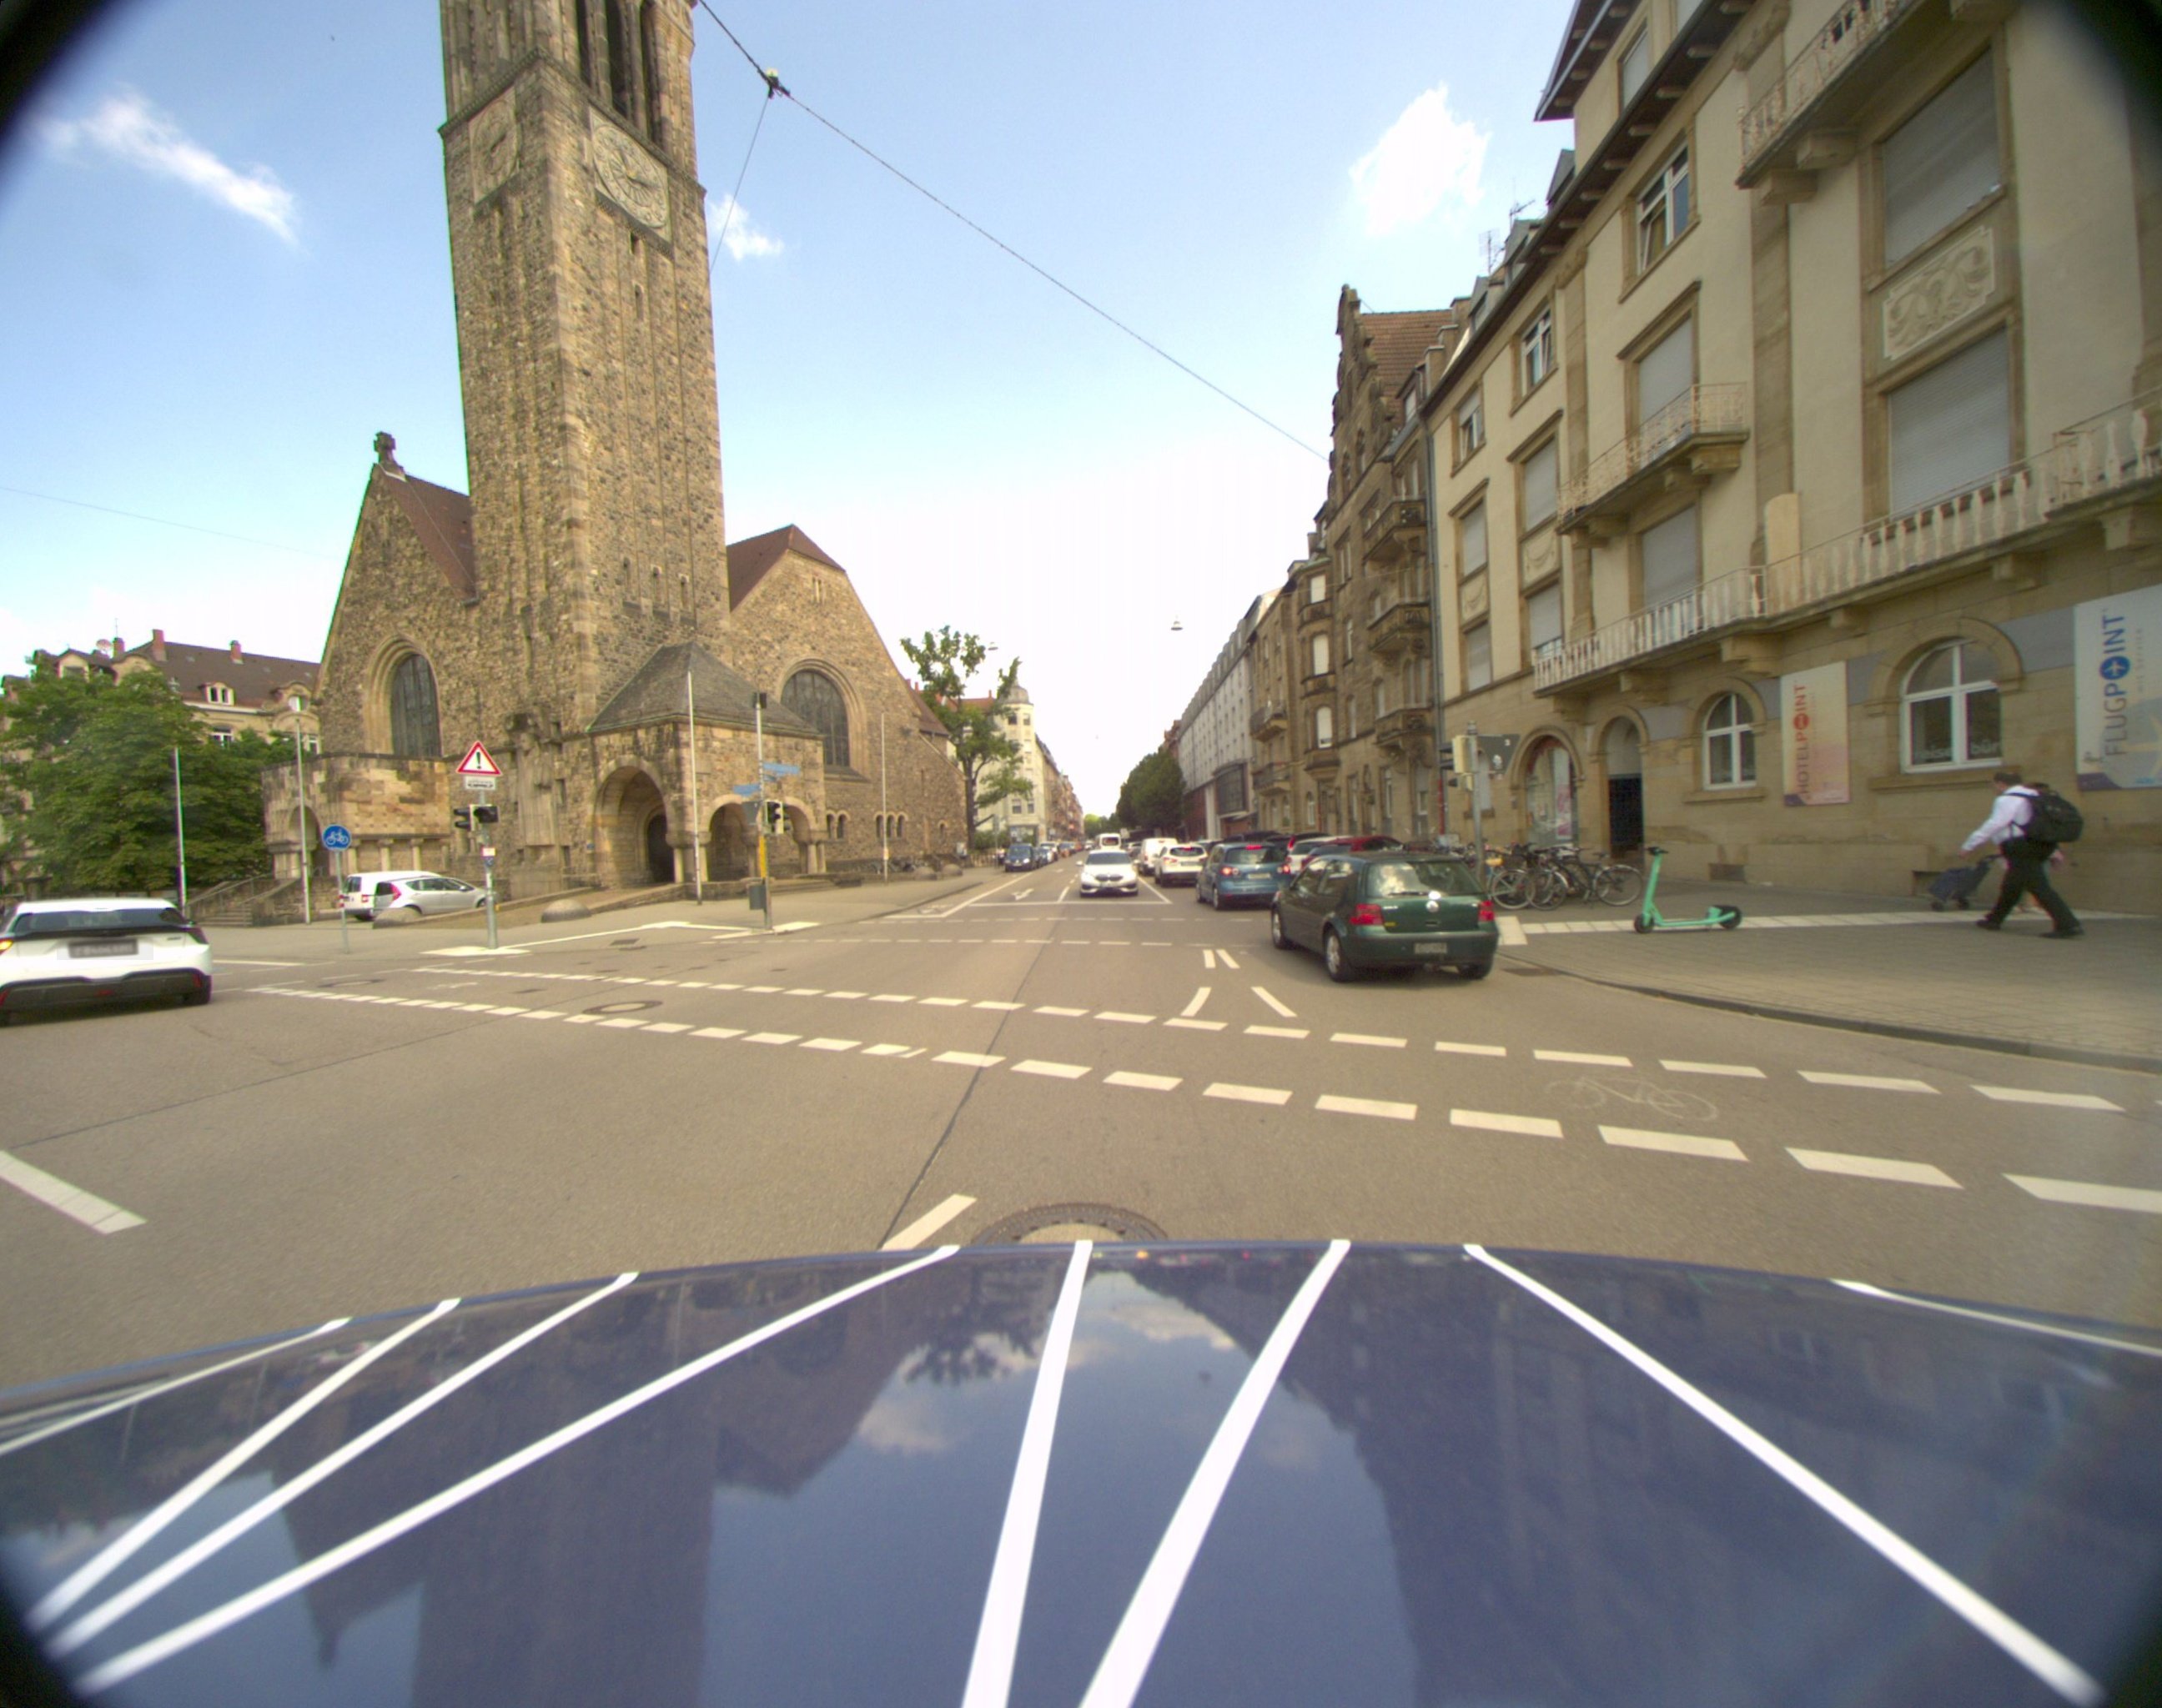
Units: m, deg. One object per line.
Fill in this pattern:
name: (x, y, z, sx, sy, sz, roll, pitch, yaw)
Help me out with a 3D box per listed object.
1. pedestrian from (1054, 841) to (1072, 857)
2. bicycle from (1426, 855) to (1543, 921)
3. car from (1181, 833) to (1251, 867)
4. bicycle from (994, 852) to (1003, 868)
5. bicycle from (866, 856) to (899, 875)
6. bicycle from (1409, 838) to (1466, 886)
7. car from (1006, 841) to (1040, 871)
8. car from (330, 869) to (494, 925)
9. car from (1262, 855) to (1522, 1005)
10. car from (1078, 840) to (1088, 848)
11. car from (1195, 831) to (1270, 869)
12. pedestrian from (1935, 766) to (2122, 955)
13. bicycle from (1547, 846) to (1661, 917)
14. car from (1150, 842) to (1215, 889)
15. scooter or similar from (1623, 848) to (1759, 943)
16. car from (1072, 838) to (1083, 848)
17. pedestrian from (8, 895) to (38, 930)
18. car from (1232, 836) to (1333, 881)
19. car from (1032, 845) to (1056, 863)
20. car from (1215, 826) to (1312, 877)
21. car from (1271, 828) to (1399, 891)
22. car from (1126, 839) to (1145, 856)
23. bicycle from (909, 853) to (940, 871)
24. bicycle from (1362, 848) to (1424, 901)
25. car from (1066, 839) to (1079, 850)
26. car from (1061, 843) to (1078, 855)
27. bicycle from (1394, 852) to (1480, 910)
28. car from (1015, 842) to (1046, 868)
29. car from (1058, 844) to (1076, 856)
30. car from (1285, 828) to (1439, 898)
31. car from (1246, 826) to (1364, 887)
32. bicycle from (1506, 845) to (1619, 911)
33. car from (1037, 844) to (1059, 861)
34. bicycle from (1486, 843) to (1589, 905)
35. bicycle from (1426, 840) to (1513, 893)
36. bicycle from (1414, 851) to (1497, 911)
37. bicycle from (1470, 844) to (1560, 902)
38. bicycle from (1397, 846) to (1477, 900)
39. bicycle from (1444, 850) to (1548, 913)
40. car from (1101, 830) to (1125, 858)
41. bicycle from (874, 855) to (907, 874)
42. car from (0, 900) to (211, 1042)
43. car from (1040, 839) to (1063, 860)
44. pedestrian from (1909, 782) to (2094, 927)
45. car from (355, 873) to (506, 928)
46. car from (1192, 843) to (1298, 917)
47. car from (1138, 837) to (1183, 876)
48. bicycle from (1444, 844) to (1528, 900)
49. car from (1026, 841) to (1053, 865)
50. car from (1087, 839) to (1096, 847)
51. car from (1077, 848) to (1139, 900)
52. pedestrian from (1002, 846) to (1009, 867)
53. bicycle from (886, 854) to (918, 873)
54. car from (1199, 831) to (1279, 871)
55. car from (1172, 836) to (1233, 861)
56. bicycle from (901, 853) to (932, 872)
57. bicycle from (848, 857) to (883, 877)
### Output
pedestrian: (-2.053, -0.553, 86.461, 1.316, 1.748, 1.370, -4, 2, -40)
bicycle: (7.208, 0.609, 13.646, 1.733, 1.046, 0.531, -5, 1, 18)
car: (8.049, -0.238, 45.198, 3.960, 1.576, 1.727, -7, 1, -37)
bicycle: (-5.898, 0.418, 54.511, 0.480, 1.046, 1.442, -3, 1, -3)
bicycle: (-11.896, 0.686, 45.527, 1.934, 1.106, 0.587, 1, 3, 23)
bicycle: (9.035, 0.195, 19.225, 1.908, 1.046, 0.556, -6, 1, -42)
car: (-3.772, 0.108, 49.985, 1.682, 1.781, 4.145, -3, 1, 3)
car: (-26.178, 1.620, 29.922, 1.995, 1.842, 4.312, -4, -1, 26)
car: (3.577, 0.762, 9.525, 1.717, 1.425, 3.817, -1, 1, 1)
car: (0.477, -2.314, 174.441, 1.809, 1.756, 4.186, -3, 1, 3)
car: (8.375, -0.250, 41.921, 3.959, 1.576, 1.727, -8, 2, -37)
pedestrian: (9.990, 0.043, 8.063, 0.804, 1.850, 0.905, -4, 4, 2)
bicycle: (8.692, 0.453, 12.668, 1.441, 1.046, 0.481, -5, 1, 11)
car: (3.705, 0.379, 28.275, 1.775, 1.573, 4.019, -2, 1, -1)
scooter or similar: (7.992, 0.550, 10.001, 1.251, 1.139, 0.481, -5, 2, 20)
car: (-0.675, -2.178, 150.656, 1.809, 1.902, 4.186, -3, 1, 3)
pedestrian: (-52.016, 2.875, 37.357, 0.843, 1.655, 0.660, -2, 2, 29)
car: (8.197, 0.167, 30.851, 3.960, 1.421, 1.727, -6, 0, -36)
car: (-3.212, -0.045, 66.198, 1.682, 1.439, 3.798, -3, 1, 3)
car: (8.014, -0.113, 33.253, 3.959, 1.857, 1.727, -6, 2, -32)
car: (7.855, 0.149, 23.351, 3.960, 1.448, 1.727, -7, 1, -39)
car: (5.754, -0.728, 80.723, 1.891, 1.642, 3.890, -3, 1, 3)
bicycle: (-10.114, 0.498, 49.193, 1.934, 1.106, 0.587, 1, 3, 23)
bicycle: (7.199, 0.454, 17.504, 1.815, 1.046, 0.556, -6, 1, -44)
car: (-1.349, -1.535, 122.024, 1.809, 1.756, 4.186, -3, 1, 3)
car: (-1.483, -0.672, 99.823, 1.809, 1.360, 4.186, -3, 1, 3)
bicycle: (7.309, 0.540, 15.623, 1.483, 1.046, 0.462, -5, 1, 2)
car: (-3.606, 0.031, 55.143, 1.682, 1.781, 4.000, -3, 1, 3)
car: (-1.722, -0.479, 94.270, 1.809, 1.360, 4.186, -3, 1, 3)
car: (7.555, 0.219, 20.303, 4.005, 1.449, 1.808, -6, 1, -36)
car: (7.777, 0.069, 26.260, 3.960, 1.680, 1.799, -6, 1, -37)
bicycle: (8.696, 0.438, 13.775, 1.612, 1.046, 0.481, -5, 1, 10)
car: (-3.050, -0.182, 71.376, 1.682, 1.488, 3.890, -3, 1, 3)
bicycle: (8.846, 0.387, 14.755, 1.580, 1.046, 0.481, -5, 1, 10)
bicycle: (8.832, 0.277, 17.307, 1.631, 1.046, 0.558, -5, 1, 1)
bicycle: (7.453, 0.532, 15.141, 1.372, 1.046, 0.418, -6, 1, 0)
bicycle: (8.836, 0.380, 15.507, 1.483, 1.046, 0.462, -5, 1, 3)
bicycle: (7.823, 0.406, 16.698, 1.483, 1.046, 0.462, -5, 1, -1)
bicycle: (7.814, 0.520, 14.348, 1.580, 1.046, 0.481, -5, 1, 10)
car: (2.966, -0.912, 72.425, 2.081, 2.430, 5.945, -1, 0, 1)
bicycle: (-11.598, 0.653, 46.179, 1.934, 1.106, 0.587, 1, 3, 23)
car: (-13.529, 1.437, 10.329, 4.119, 1.497, 1.824, -2, -1, 35)
car: (-2.891, -0.469, 75.772, 1.844, 1.927, 4.186, -3, 1, 3)
pedestrian: (11.277, 0.001, 9.357, 0.943, 1.586, 0.996, -6, 1, 3)
car: (-23.538, 1.641, 27.642, 1.815, 1.668, 3.643, -4, -1, 24)
car: (3.875, 0.532, 18.567, 1.751, 1.531, 3.931, -3, 1, 1)
car: (3.869, 0.119, 37.633, 1.816, 1.765, 4.283, -2, 0, 1)
bicycle: (8.622, 0.376, 16.192, 1.483, 1.046, 0.462, -5, 1, -1)
car: (-3.286, -0.144, 61.508, 1.682, 1.781, 4.000, -3, 1, 3)
car: (2.425, -2.406, 168.964, 1.809, 1.654, 4.186, -3, 1, 3)
car: (0.908, 0.584, 24.807, 1.826, 1.440, 4.386, -1, 1, 3)
pedestrian: (-5.421, 0.190, 54.556, 0.466, 1.447, 0.556, -3, 2, -3)
bicycle: (-11.055, 0.603, 47.027, 1.934, 1.106, 0.587, 1, 3, 23)
car: (8.163, -0.164, 39.103, 3.959, 1.576, 1.727, -8, 2, -37)
car: (8.162, -0.370, 51.005, 3.961, 1.465, 1.727, -4, 1, -37)
bicycle: (-10.476, 0.536, 48.474, 1.934, 1.106, 0.587, 1, 3, 23)
bicycle: (-12.501, 0.755, 44.071, 1.934, 1.106, 0.587, 1, 3, 23)
